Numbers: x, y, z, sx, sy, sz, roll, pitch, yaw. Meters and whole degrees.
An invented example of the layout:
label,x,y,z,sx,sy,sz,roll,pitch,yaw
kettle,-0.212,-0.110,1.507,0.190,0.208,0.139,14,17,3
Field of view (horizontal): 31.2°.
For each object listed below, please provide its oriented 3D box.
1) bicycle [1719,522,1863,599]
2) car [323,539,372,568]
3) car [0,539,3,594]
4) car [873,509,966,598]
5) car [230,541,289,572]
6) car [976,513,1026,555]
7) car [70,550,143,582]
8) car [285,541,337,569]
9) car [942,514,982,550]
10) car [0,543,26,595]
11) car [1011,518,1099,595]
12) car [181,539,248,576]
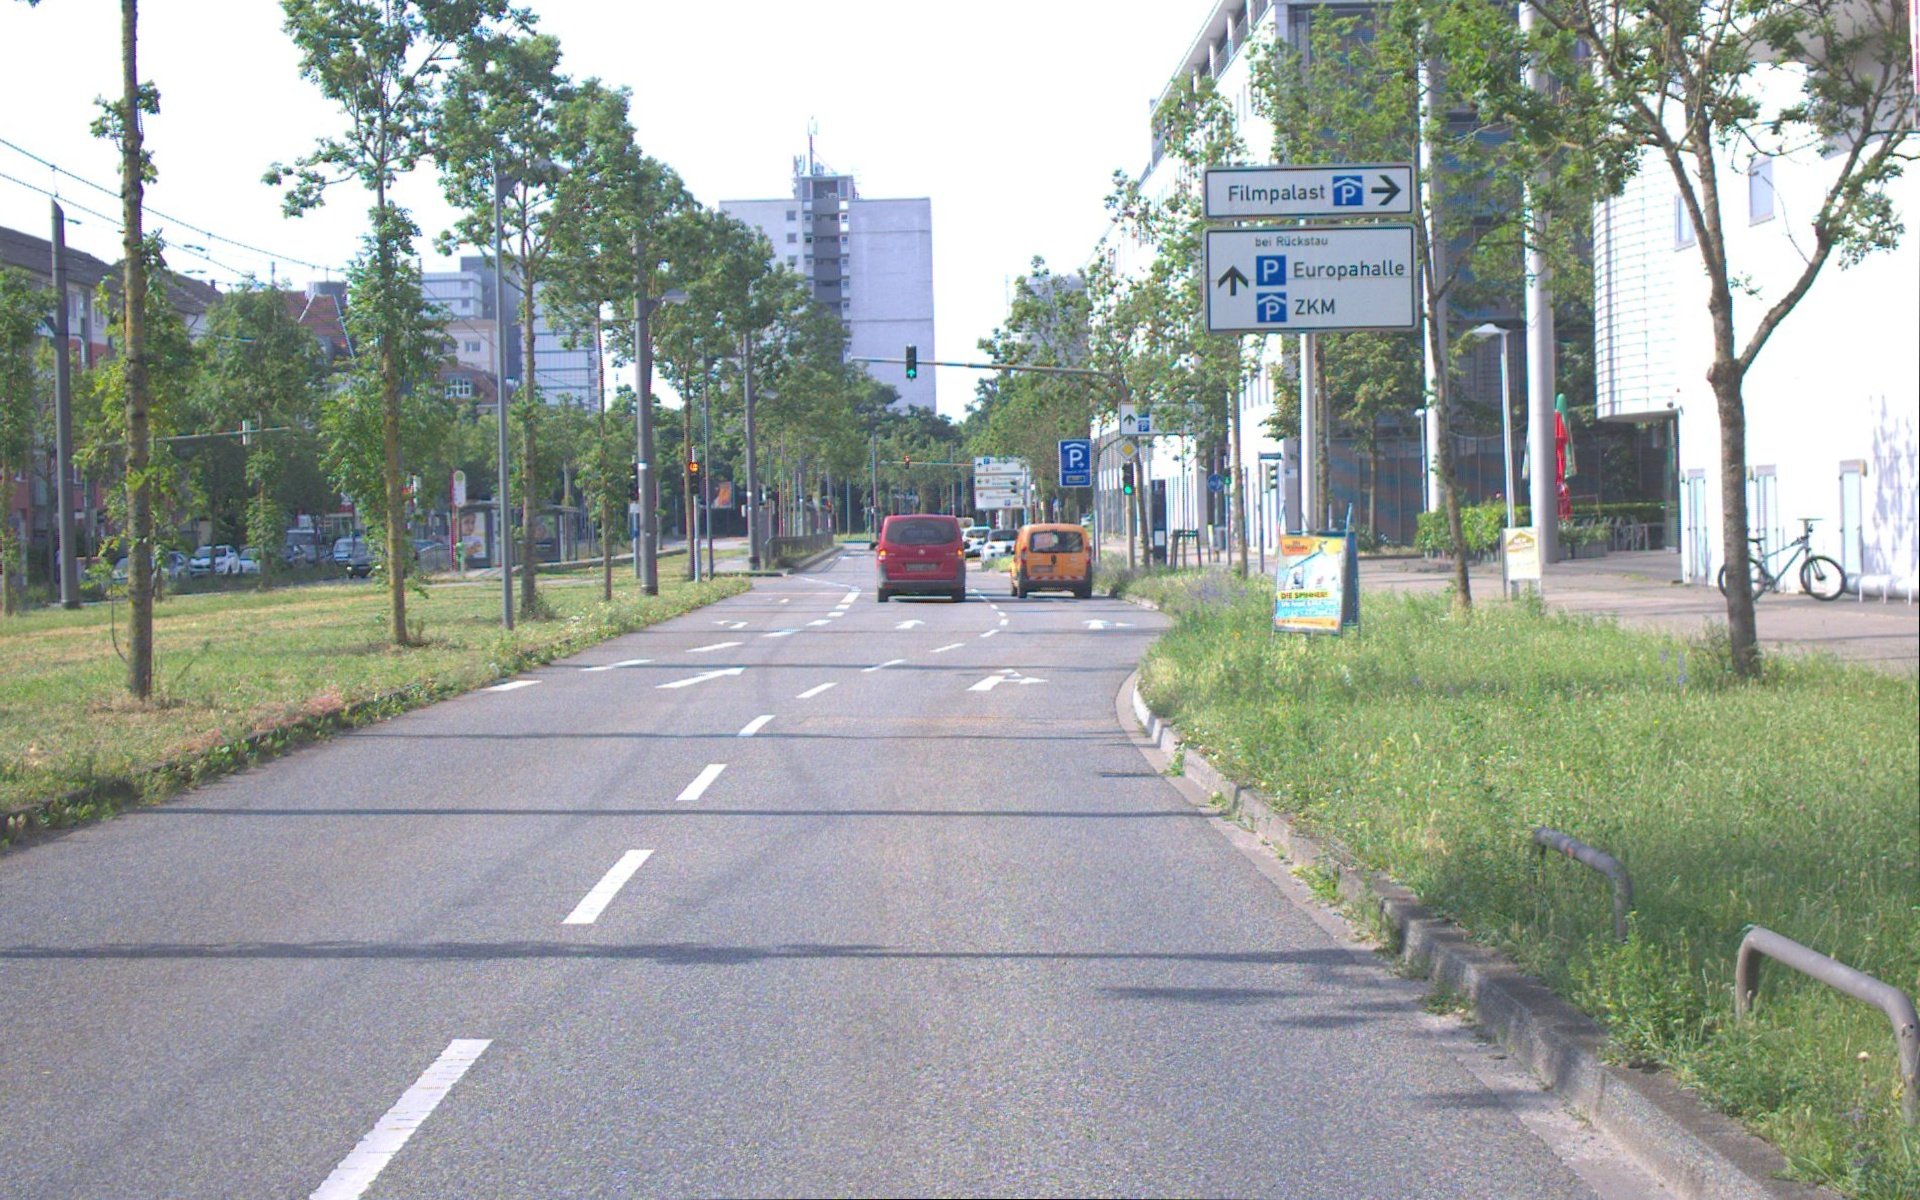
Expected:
label,x,y,z,sx,sy,sz,roll,pitch,yaw
bicycle,12.545,-0.602,51.928,2.009,1.099,0.675,-1,1,4
car,-32.710,-2.477,183.756,1.980,1.508,4.281,0,1,-2
car,-28.751,-0.877,95.094,4.459,1.509,1.996,0,2,36
car,-0.893,-1.023,74.180,1.874,1.847,4.001,-1,1,-2
car,-32.026,-1.997,157.329,1.980,1.356,4.070,0,1,-2
car,1.563,-2.524,131.061,1.720,1.514,3.782,-1,2,-2
car,-32.005,-1.297,129.013,1.833,1.144,4.165,0,1,-2
car,-32.650,-2.283,173.016,1.980,1.356,4.070,0,1,-2
car,0.068,-3.122,157.390,1.689,1.521,3.851,-3,1,-1
car,-29.081,-0.916,98.727,4.347,1.458,1.960,1,1,33
car,2.154,-1.026,79.001,1.875,1.690,3.974,-1,1,0
car,-31.944,-1.818,147.439,1.980,1.551,4.538,0,1,-2
